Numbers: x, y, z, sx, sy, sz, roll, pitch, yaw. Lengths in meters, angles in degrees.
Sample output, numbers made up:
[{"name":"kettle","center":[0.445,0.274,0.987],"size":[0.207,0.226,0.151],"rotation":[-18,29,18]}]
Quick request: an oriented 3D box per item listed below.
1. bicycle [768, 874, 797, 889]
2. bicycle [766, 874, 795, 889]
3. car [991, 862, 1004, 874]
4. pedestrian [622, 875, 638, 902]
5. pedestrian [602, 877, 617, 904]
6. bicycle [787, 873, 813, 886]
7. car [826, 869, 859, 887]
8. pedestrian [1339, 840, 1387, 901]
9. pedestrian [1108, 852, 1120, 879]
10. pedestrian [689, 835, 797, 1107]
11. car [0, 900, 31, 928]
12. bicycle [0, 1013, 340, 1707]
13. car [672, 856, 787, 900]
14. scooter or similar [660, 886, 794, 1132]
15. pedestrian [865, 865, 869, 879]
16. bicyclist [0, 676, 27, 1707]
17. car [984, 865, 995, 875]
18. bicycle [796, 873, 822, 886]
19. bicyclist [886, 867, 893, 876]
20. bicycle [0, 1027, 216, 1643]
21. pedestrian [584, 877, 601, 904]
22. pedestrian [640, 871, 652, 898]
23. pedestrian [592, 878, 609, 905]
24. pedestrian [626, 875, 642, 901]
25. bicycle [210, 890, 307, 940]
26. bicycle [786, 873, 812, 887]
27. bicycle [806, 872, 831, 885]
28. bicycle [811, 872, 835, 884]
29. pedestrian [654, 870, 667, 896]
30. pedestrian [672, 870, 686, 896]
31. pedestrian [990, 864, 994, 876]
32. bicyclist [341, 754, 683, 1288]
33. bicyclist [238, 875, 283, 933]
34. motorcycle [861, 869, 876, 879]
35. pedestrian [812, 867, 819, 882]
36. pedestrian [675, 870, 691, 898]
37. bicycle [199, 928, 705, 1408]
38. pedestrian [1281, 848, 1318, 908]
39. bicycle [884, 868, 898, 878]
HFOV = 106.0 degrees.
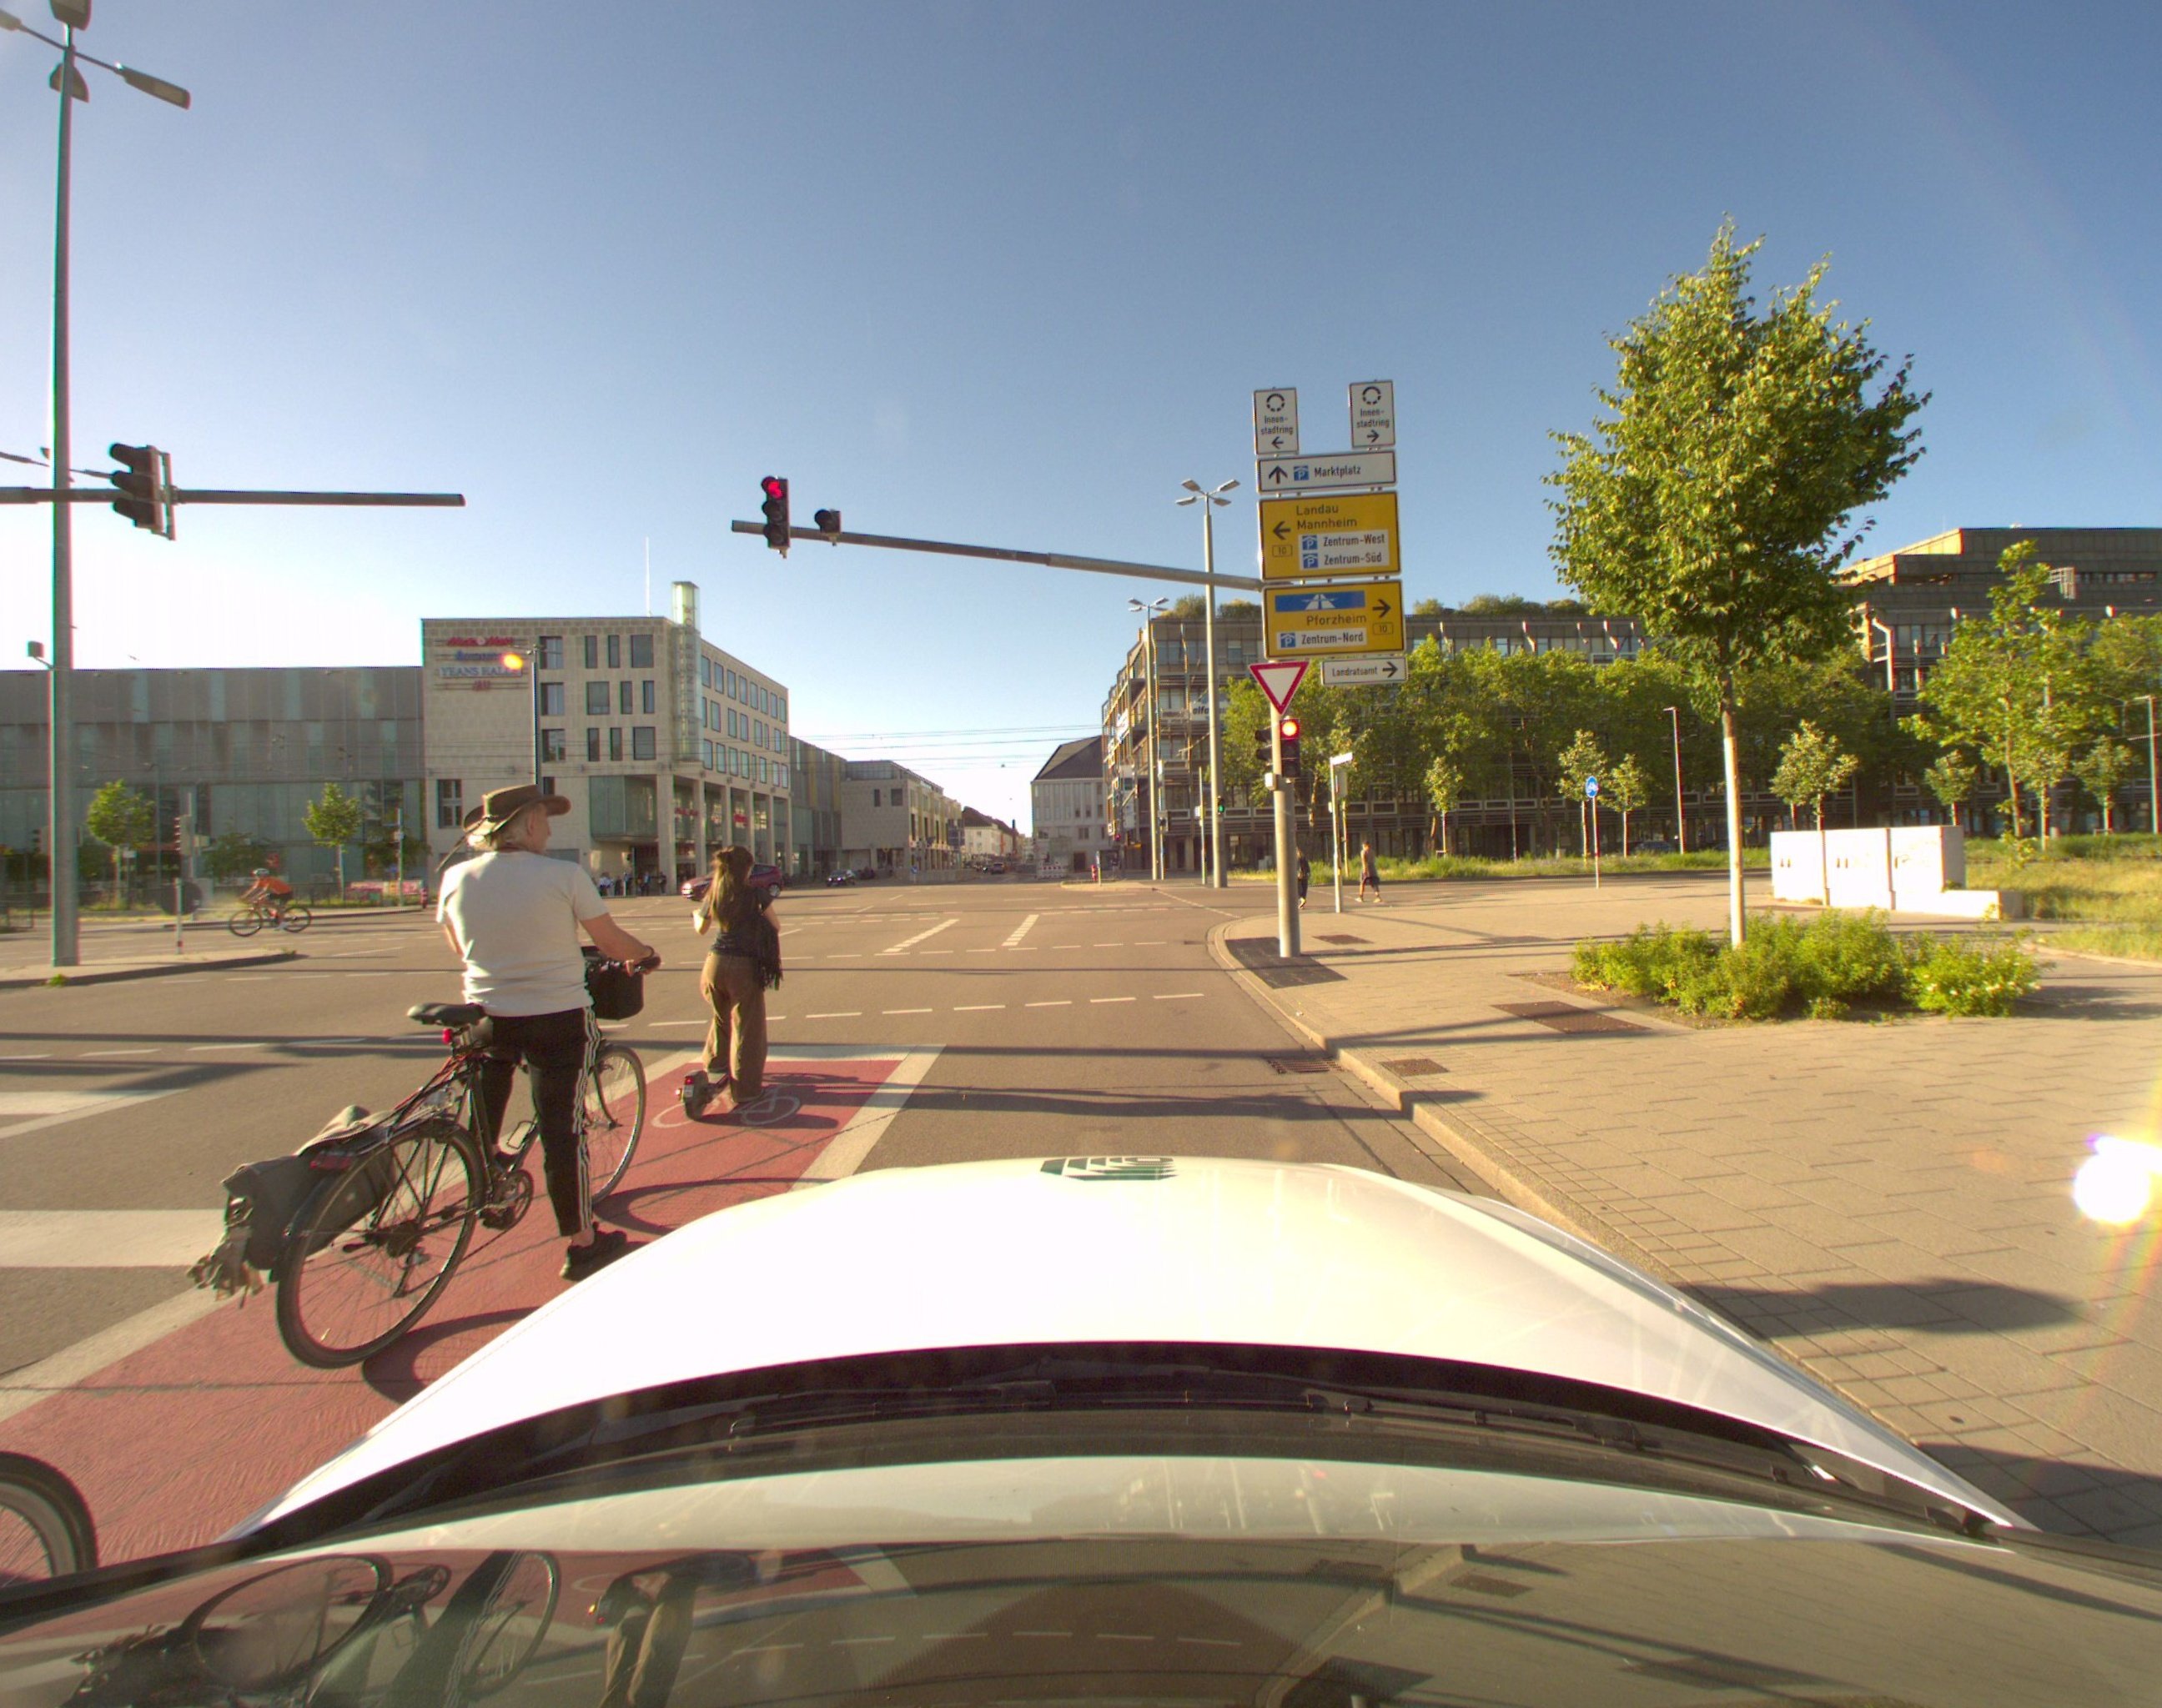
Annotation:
[{"name":"bicycle","center":[-26.742,2.445,72.904],"size":[2.299,1.222,0.612],"rotation":[-2,-1,-1]},{"name":"bicycle","center":[-26.566,2.436,72.019],"size":[2.299,1.222,0.612],"rotation":[-2,-1,-1]},{"name":"car","center":[-11.141,1.868,108.664],"size":[1.735,1.531,3.848],"rotation":[0,-1,-5]},{"name":"pedestrian","center":[-31.947,2.458,57.700],"size":[0.783,1.885,0.716],"rotation":[0,-1,-4]},{"name":"pedestrian","center":[-33.992,2.632,58.727],"size":[0.714,1.885,0.786],"rotation":[0,-1,-6]},{"name":"bicycle","center":[-27.631,2.512,80.134],"size":[2.299,1.222,0.612],"rotation":[-2,-1,-1]},{"name":"car","center":[-20.626,2.058,70.516],"size":[1.625,1.342,3.999],"rotation":[-4,-1,0]},{"name":"pedestrian","center":[7.874,0.452,22.757],"size":[0.880,1.665,0.960],"rotation":[0,-1,-14]},{"name":"pedestrian","center":[2.323,0.817,57.422],"size":[0.785,1.890,0.644],"rotation":[0,-1,1]},{"name":"pedestrian","center":[-2.161,0.705,5.253],"size":[0.549,1.633,0.569],"rotation":[0,-1,-13]},{"name":"car","center":[-65.820,3.595,48.554],"size":[3.892,1.585,1.656],"rotation":[0,-1,-5]},{"name":"bicycle","center":[-1.693,0.912,0.607],"size":[0.614,1.218,1.831],"rotation":[0,0,-1]},{"name":"car","center":[-14.112,0.938,32.850],"size":[1.638,1.585,3.923],"rotation":[-2,-1,38]},{"name":"scooter or similar","center":[-2.155,0.870,5.084],"size":[0.547,1.294,1.188],"rotation":[0,-1,-13]},{"name":"pedestrian","center":[-26.105,2.202,99.363],"size":[0.521,1.679,0.580],"rotation":[0,0,-12]},{"name":"bicyclist","center":[-1.696,0.564,0.620],"size":[0.639,1.579,0.875],"rotation":[0,0,-1]},{"name":"car","center":[-17.290,3.012,153.893],"size":[1.793,1.657,3.997],"rotation":[0,-1,-2]},{"name":"bicycle","center":[-27.187,2.519,81.351],"size":[2.299,1.222,0.612],"rotation":[-2,-1,-1]},{"name":"bicyclist","center":[-23.101,2.164,98.414],"size":[0.505,1.084,0.629],"rotation":[0,0,31]},{"name":"bicycle","center":[-2.420,0.981,0.989],"size":[0.645,1.109,1.970],"rotation":[0,0,-1]},{"name":"pedestrian","center":[-35.027,2.605,58.409],"size":[0.783,1.885,0.716],"rotation":[0,-1,-4]},{"name":"pedestrian","center":[-31.054,2.158,58.167],"size":[0.718,1.885,0.781],"rotation":[0,-1,-25]},{"name":"pedestrian","center":[-33.869,2.620,57.381],"size":[0.783,1.885,0.716],"rotation":[0,-1,-4]},{"name":"pedestrian","center":[-32.513,2.475,59.251],"size":[0.783,1.885,0.716],"rotation":[0,-1,-4]},{"name":"bicycle","center":[-20.763,1.514,20.585],"size":[0.490,1.154,1.661],"rotation":[-1,-1,33]},{"name":"bicycle","center":[-27.065,2.491,78.139],"size":[2.299,1.222,0.612],"rotation":[-2,-1,-1]},{"name":"bicycle","center":[-27.590,2.557,85.589],"size":[2.299,1.222,0.612],"rotation":[-2,-1,-1]},{"name":"bicycle","center":[-27.426,2.565,86.655],"size":[2.299,1.222,0.612],"rotation":[-2,-1,-1]},{"name":"pedestrian","center":[-30.729,2.123,59.539],"size":[0.800,1.843,0.856],"rotation":[-2,0,-26]},{"name":"pedestrian","center":[-29.107,2.073,58.948],"size":[0.801,1.843,0.855],"rotation":[-2,0,-30]},{"name":"pedestrian","center":[-12.821,2.252,117.477],"size":[0.520,1.679,0.582],"rotation":[0,0,-5]},{"name":"bicyclist","center":[-2.054,0.542,3.070],"size":[0.658,1.720,0.866],"rotation":[0,-1,1]},{"name":"bicyclist","center":[-20.748,1.246,20.592],"size":[0.490,1.437,0.718],"rotation":[-1,-1,33]},{"name":"motorcycle","center":[-25.784,2.441,98.747],"size":[1.807,1.206,0.509],"rotation":[0,0,-14]},{"name":"pedestrian","center":[-29.852,2.312,91.562],"size":[0.553,1.679,0.606],"rotation":[0,0,-8]},{"name":"pedestrian","center":[-29.567,2.216,60.545],"size":[0.883,2.014,0.771],"rotation":[0,-1,-9]},{"name":"bicycle","center":[-2.146,0.942,3.147],"size":[0.483,1.156,1.832],"rotation":[0,-1,2]},{"name":"pedestrian","center":[5.497,0.601,20.518],"size":[0.785,1.492,0.644],"rotation":[0,-1,1]},{"name":"bicycle","center":[-22.984,2.263,98.621],"size":[0.505,1.206,1.822],"rotation":[0,0,31]}]
